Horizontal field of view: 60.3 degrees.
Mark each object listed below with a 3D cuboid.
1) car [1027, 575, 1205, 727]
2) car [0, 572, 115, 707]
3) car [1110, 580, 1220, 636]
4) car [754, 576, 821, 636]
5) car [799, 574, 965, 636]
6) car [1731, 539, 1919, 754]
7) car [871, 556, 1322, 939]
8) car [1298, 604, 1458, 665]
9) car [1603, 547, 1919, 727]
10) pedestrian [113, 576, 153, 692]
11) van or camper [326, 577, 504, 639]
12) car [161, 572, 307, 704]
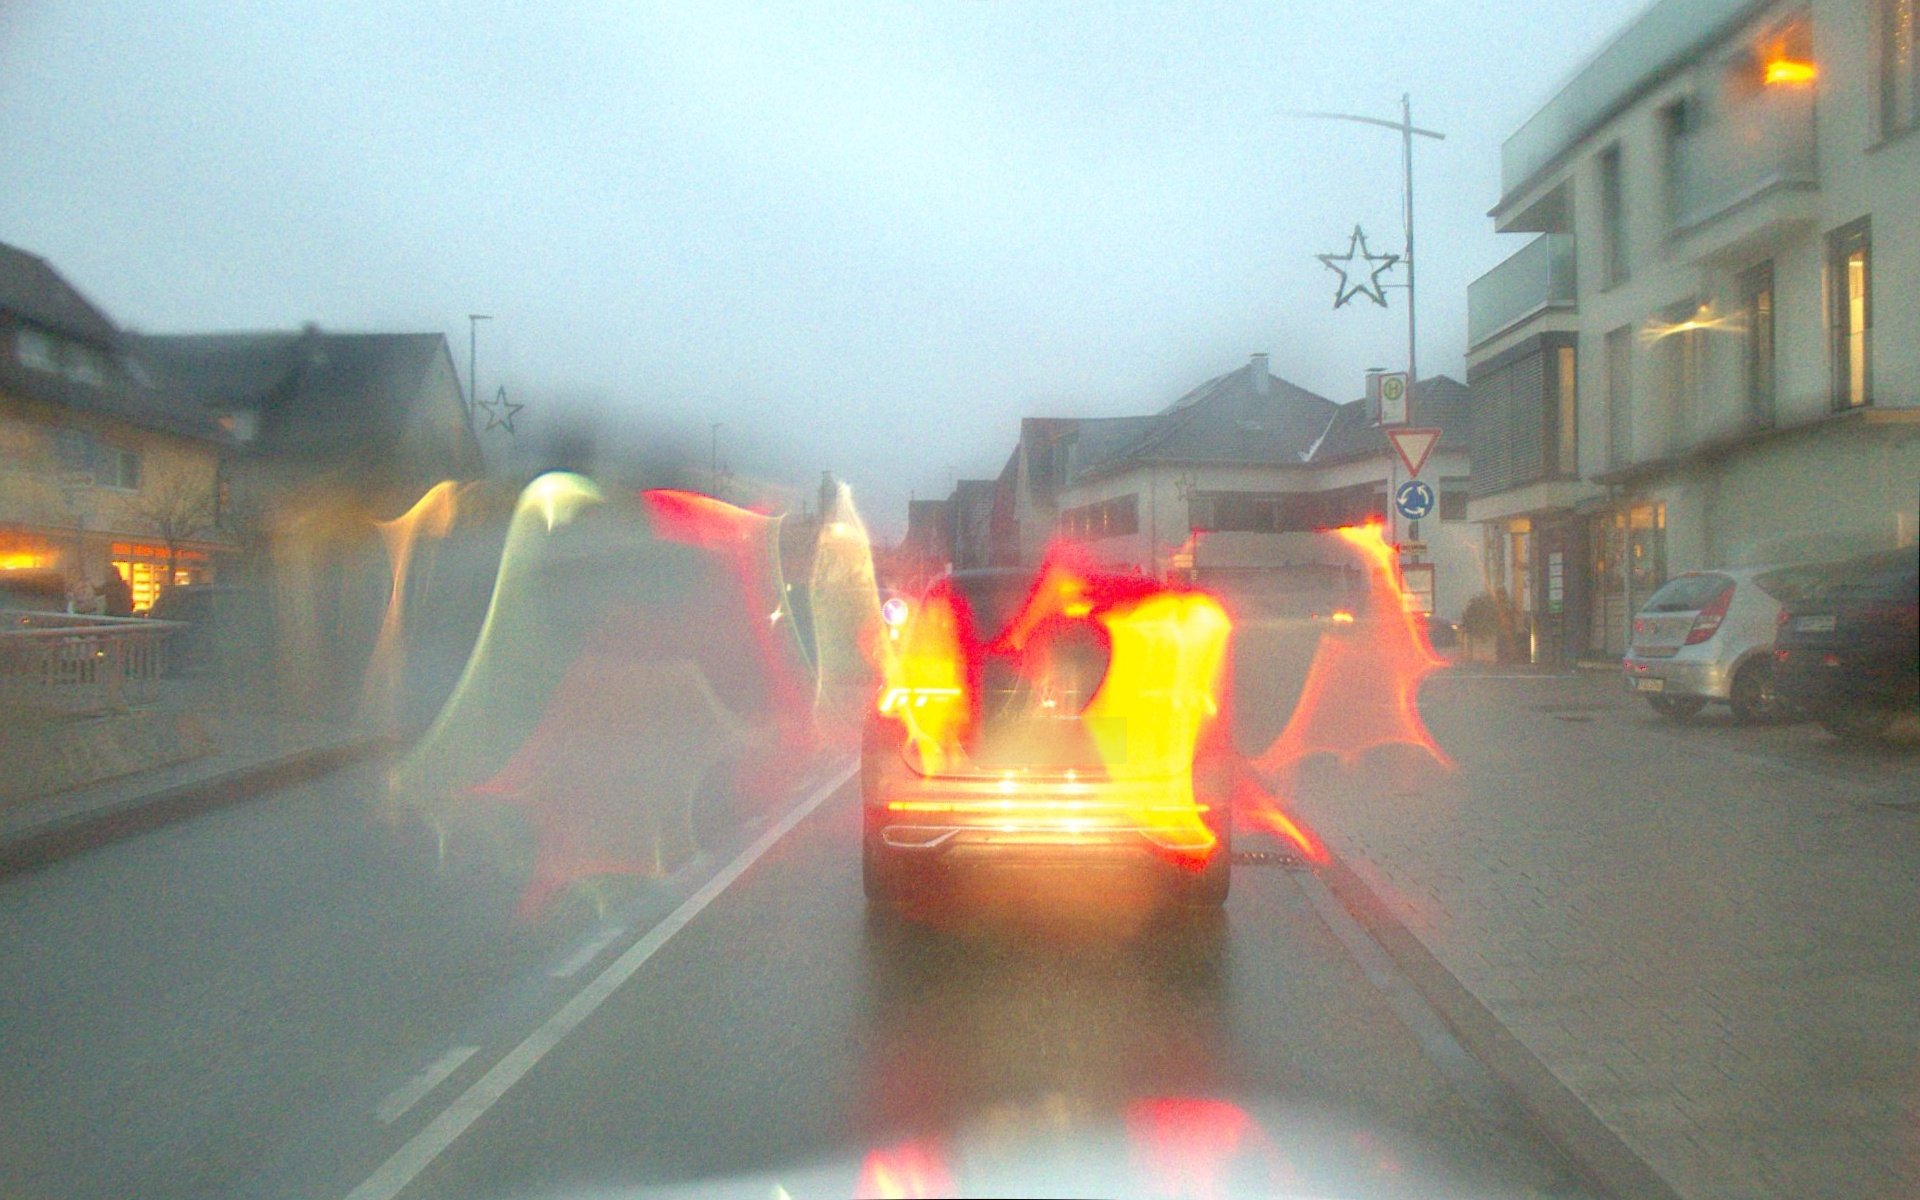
[{"bbox_3d":[1.616,0.486,18.279,1.648,1.478,4.001,1,0,1],"label":"car"},{"bbox_3d":[-14.460,0.572,25.997,2.013,1.959,4.022,-1,0,-26],"label":"car"},{"bbox_3d":[7.712,0.279,62.690,2.130,2.026,4.465,-1,0,-24],"label":"car"},{"bbox_3d":[-6.783,0.247,65.382,1.952,2.242,4.419,2,-1,3],"label":"car"},{"bbox_3d":[-1.994,0.121,42.945,3.902,1.443,2.002,-2,0,12],"label":"car"},{"bbox_3d":[8.396,0.227,12.674,4.124,1.485,1.791,-3,0,-5],"label":"car"},{"bbox_3d":[0.631,0.624,9.329,1.924,1.622,4.314,1,0,1],"label":"car"},{"bbox_3d":[11.704,0.979,46.345,3.930,1.505,1.987,3,-2,-21],"label":"car"},{"bbox_3d":[8.578,0.276,15.796,4.124,1.485,1.791,-3,0,-5],"label":"car"},{"bbox_3d":[-12.695,0.515,25.408,0.490,1.731,0.707,-2,0,-26],"label":"pedestrian"},{"bbox_3d":[-18.169,0.263,55.199,5.412,1.989,2.002,0,0,14],"label":"van or camper"},{"bbox_3d":[-11.924,0.557,27.034,2.013,1.959,4.022,-1,0,-26],"label":"car"}]
